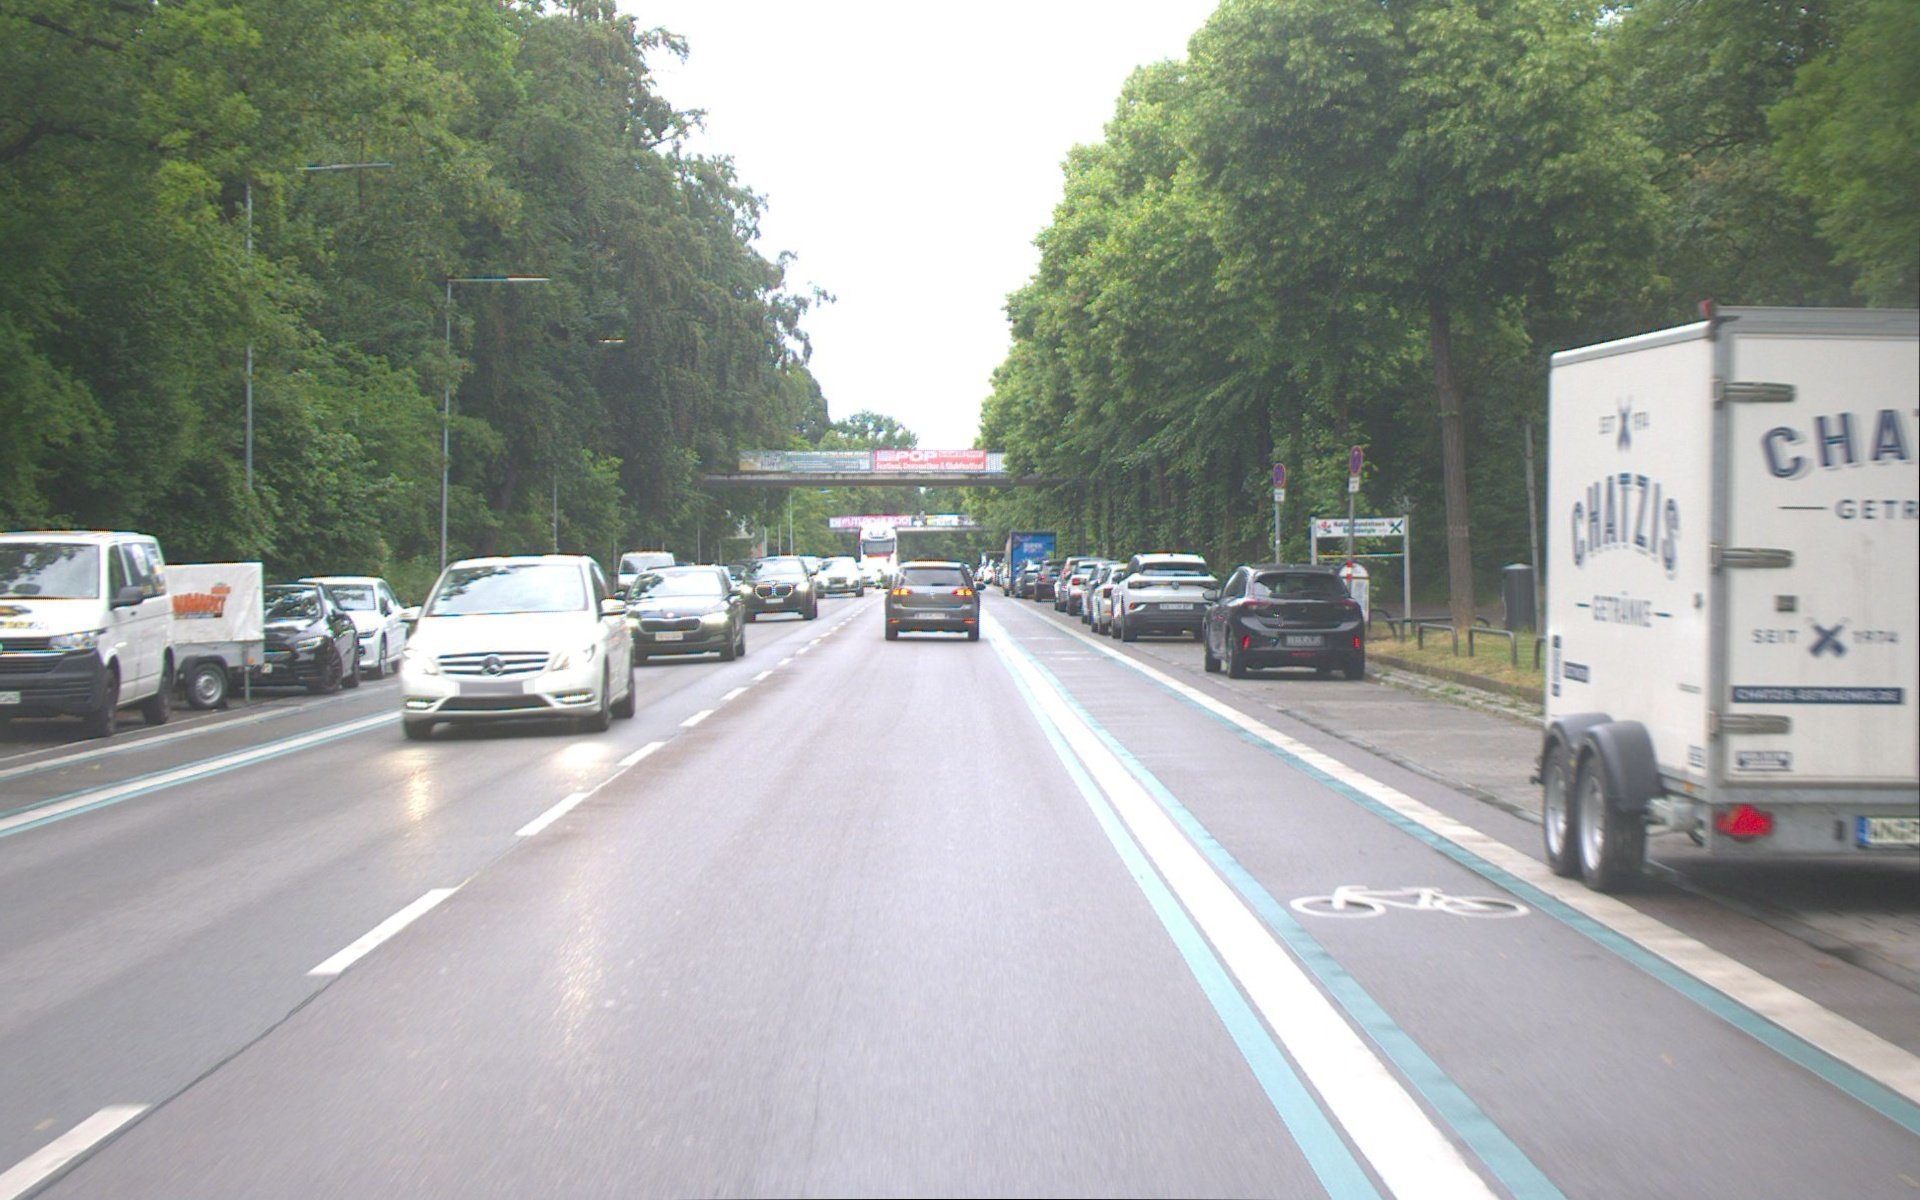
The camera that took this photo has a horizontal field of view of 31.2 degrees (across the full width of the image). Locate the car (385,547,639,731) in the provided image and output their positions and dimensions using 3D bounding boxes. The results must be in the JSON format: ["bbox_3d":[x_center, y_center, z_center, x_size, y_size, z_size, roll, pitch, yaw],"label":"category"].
[{"bbox_3d":[-3.957,0.295,30.942,1.835,1.512,4.000,-1,1,-1],"label":"car"}]

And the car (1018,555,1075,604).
[{"bbox_3d":[3.269,-0.777,130.796,1.993,1.766,4.000,-2,0,0],"label":"car"}]

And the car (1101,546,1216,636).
[{"bbox_3d":[3.672,-0.198,64.093,1.897,1.601,4.000,0,1,0],"label":"car"}]

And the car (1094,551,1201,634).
[{"bbox_3d":[3.718,-0.171,68.710,1.897,1.601,4.000,0,1,0],"label":"car"}]

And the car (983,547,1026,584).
[{"bbox_3d":[2.157,-1.678,167.292,1.993,1.744,4.000,0,1,0],"label":"car"}]

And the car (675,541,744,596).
[{"bbox_3d":[-9.285,-1.187,127.901,2.159,2.007,5.031,-1,1,0],"label":"car"}]

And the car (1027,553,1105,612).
[{"bbox_3d":[2.903,-0.495,94.620,1.993,1.557,4.000,0,1,0],"label":"car"}]

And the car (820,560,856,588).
[{"bbox_3d":[-4.989,-1.066,140.787,1.378,1.127,3.313,0,1,-1],"label":"car"}]

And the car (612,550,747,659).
[{"bbox_3d":[-4.225,0.038,52.209,1.706,1.566,4.000,0,1,0],"label":"car"}]

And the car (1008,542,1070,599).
[{"bbox_3d":[2.793,-1.053,122.740,1.993,2.007,4.000,0,0,-2],"label":"car"}]

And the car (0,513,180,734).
[{"bbox_3d":[-9.022,0.175,33.658,1.939,2.007,4.741,0,1,-3],"label":"car"}]

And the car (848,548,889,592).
[{"bbox_3d":[-4.811,-1.565,180.514,1.993,2.007,3.999,-2,-2,0],"label":"car"}]

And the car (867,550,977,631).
[{"bbox_3d":[-0.737,-0.158,64.088,1.871,1.436,4.296,1,0,-3],"label":"car"}]

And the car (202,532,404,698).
[{"bbox_3d":[-8.378,0.138,44.194,1.939,2.007,4.741,0,1,-3],"label":"car"}]

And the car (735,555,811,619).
[{"bbox_3d":[-4.774,-0.341,88.154,1.706,1.566,4.000,0,1,0],"label":"car"}]

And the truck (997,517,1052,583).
[{"bbox_3d":[2.590,-2.036,139.050,2.112,2.590,4.301,-1,1,0],"label":"truck"}]

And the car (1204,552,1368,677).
[{"bbox_3d":[4.163,0.145,44.384,1.722,1.520,4.000,0,1,0],"label":"car"}]

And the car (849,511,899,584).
[{"bbox_3d":[-5.894,-3.655,237.613,3.353,4.935,9.011,0,1,-1],"label":"car"}]

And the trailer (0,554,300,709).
[{"bbox_3d":[-9.285,0.316,38.651,1.628,1.623,3.666,0,1,30],"label":"trailer"}]

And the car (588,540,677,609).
[{"bbox_3d":[-9.828,-0.791,103.528,2.159,2.007,5.031,-1,1,0],"label":"car"}]

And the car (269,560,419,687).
[{"bbox_3d":[-9.008,0.315,50.486,1.576,1.764,3.415,-1,1,0],"label":"car"}]

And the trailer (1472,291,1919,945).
[{"bbox_3d":[3.817,0.030,15.605,2.131,2.551,4.298,0,1,-3],"label":"trailer"}]

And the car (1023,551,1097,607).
[{"bbox_3d":[2.870,-0.627,99.433,1.993,1.557,4.000,0,1,0],"label":"car"}]

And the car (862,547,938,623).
[{"bbox_3d":[-1.615,-0.423,93.986,1.993,2.007,4.000,-1,1,0],"label":"car"}]
